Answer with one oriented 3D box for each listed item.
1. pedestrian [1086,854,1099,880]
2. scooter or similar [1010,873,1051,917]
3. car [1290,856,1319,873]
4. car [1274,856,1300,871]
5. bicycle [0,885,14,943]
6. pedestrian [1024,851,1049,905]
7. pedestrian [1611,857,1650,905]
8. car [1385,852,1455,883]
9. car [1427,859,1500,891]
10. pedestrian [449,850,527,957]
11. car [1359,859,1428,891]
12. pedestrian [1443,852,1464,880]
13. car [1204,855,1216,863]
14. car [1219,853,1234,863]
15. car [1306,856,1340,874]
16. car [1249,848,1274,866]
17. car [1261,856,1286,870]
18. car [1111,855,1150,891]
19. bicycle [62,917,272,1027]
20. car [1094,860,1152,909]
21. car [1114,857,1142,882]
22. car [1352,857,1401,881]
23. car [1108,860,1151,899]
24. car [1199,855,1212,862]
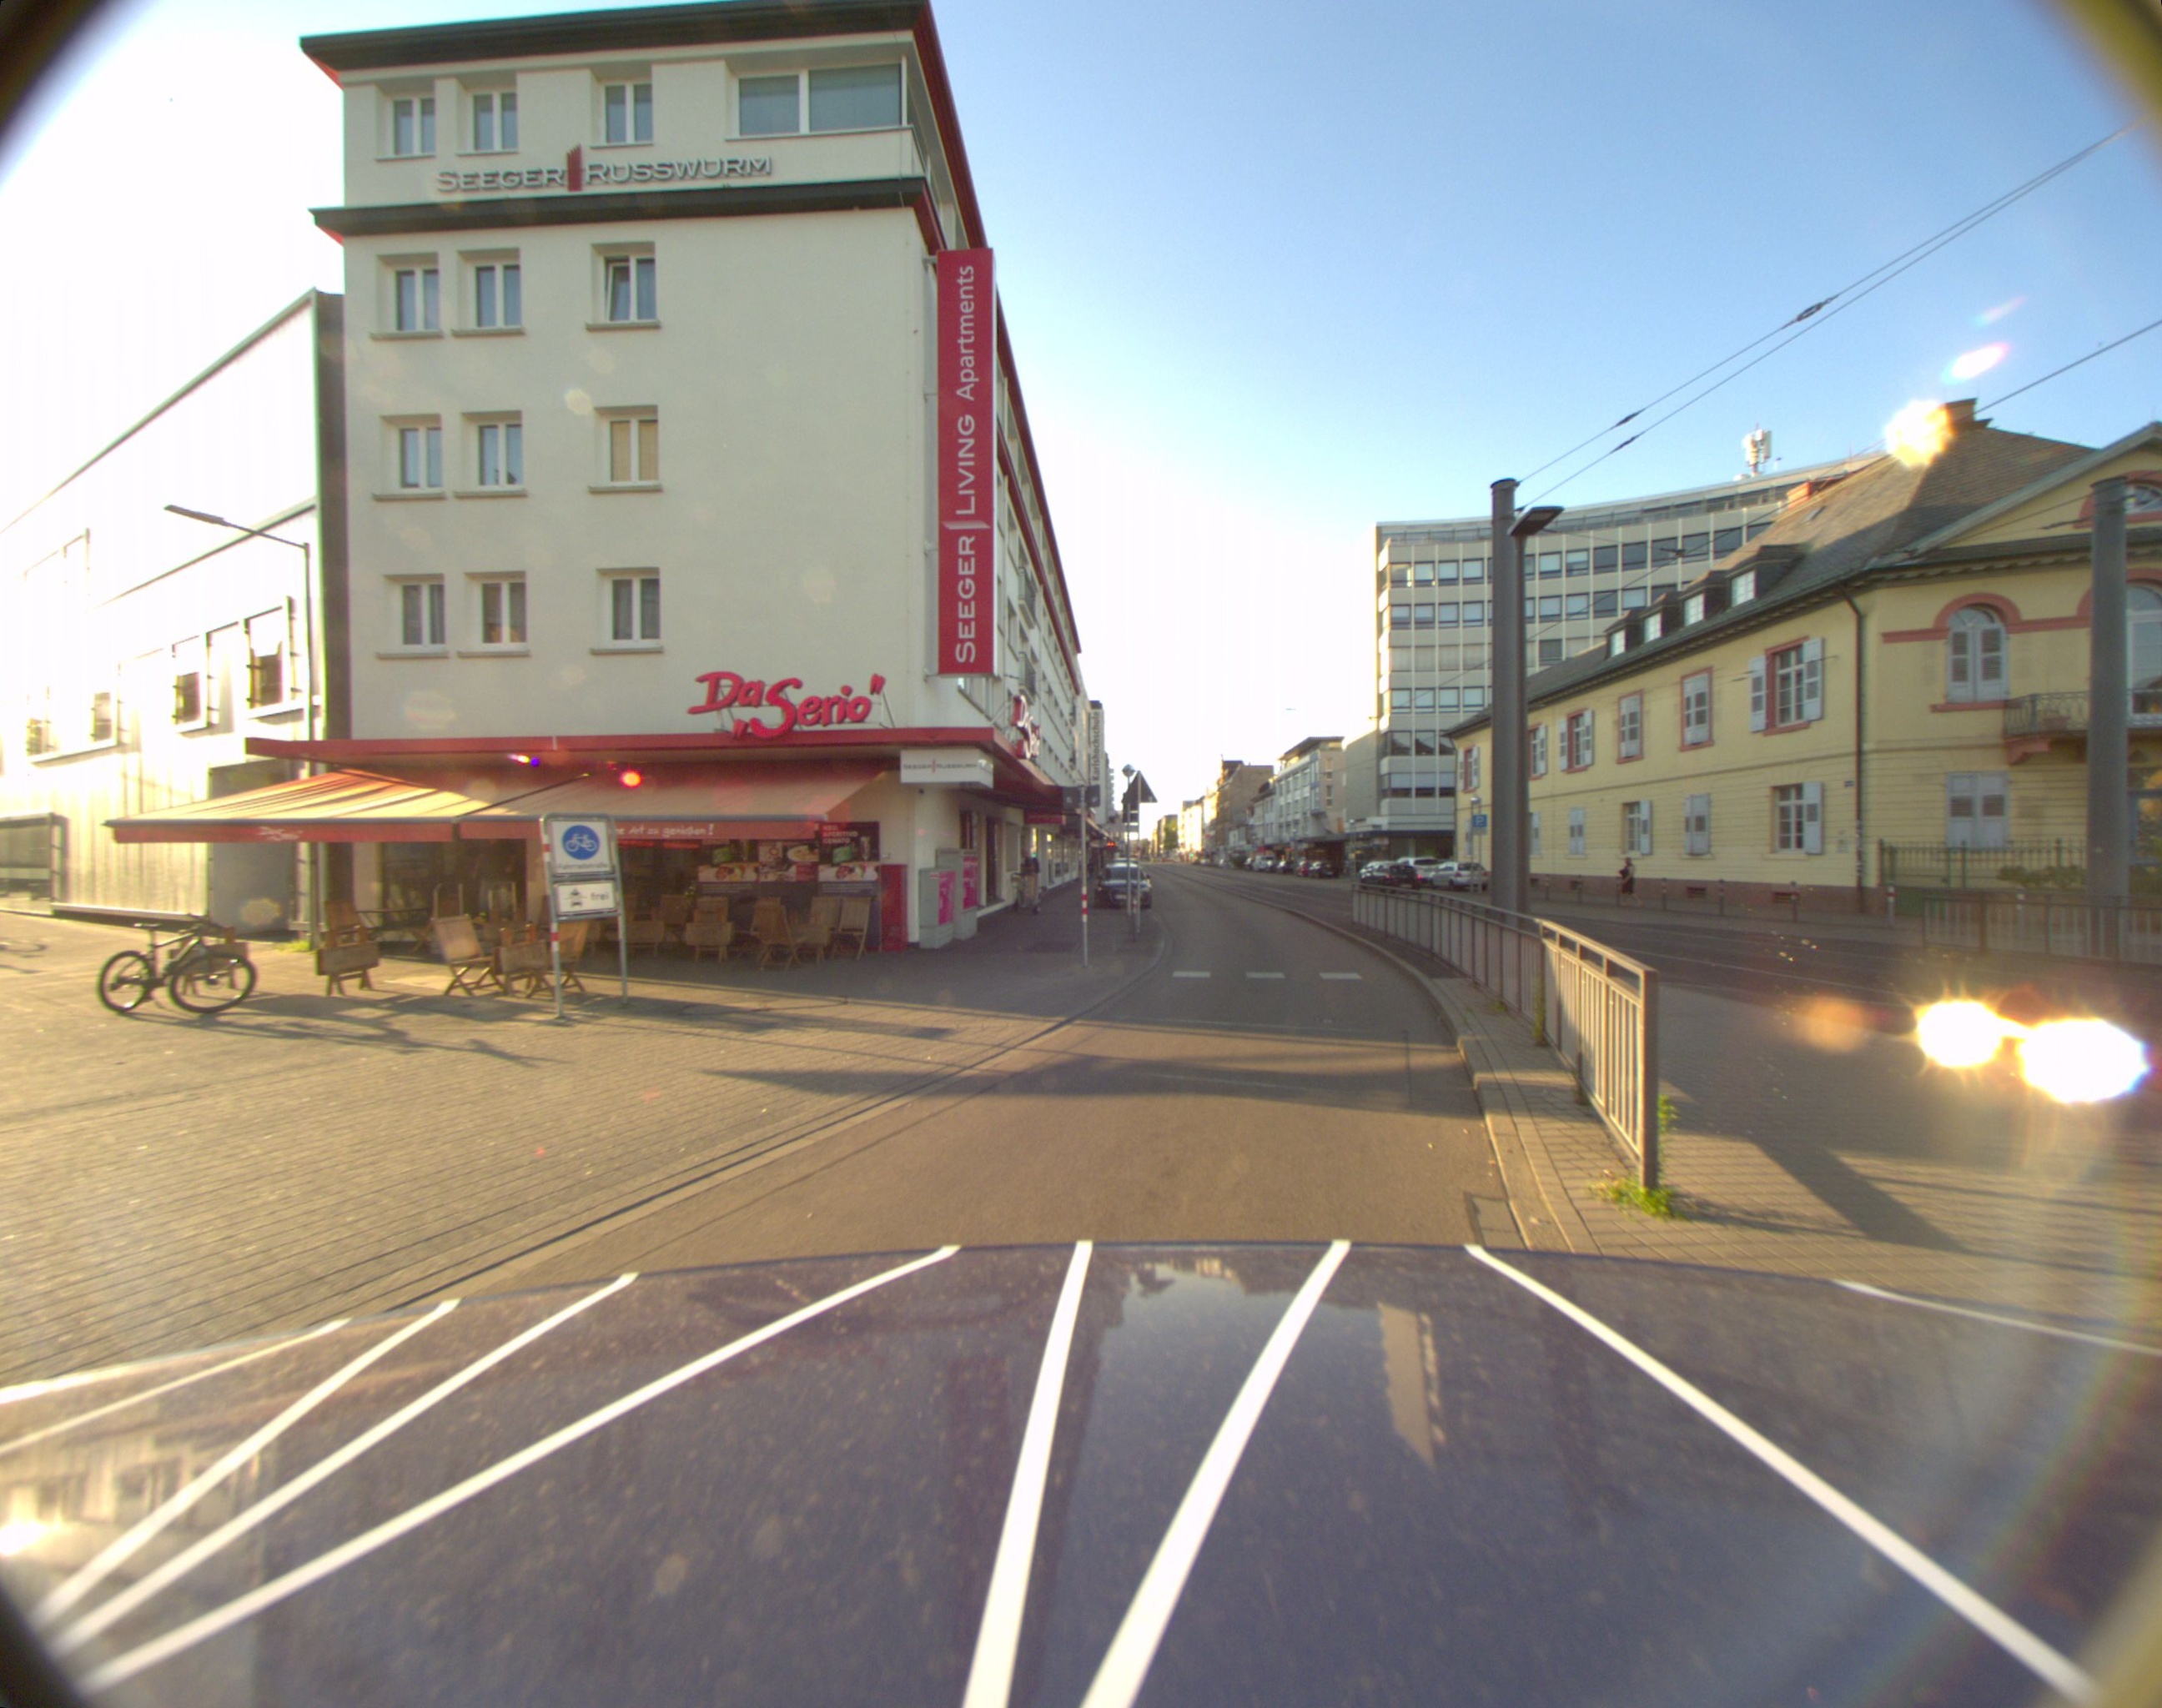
[{"bbox_3d":[0.700,0.779,46.403,0.735,1.564,0.967,0,0,3],"label":"pedestrian"},{"bbox_3d":[-1.458,1.153,21.845,0.336,1.187,1.434,0,0,-43],"label":"scooter or similar"},{"bbox_3d":[20.166,0.923,68.638,1.695,1.426,3.593,-1,0,3],"label":"car"},{"bbox_3d":[21.173,0.975,78.194,1.794,1.452,4.092,0,0,4],"label":"car"},{"bbox_3d":[-23.866,1.335,15.468,0.604,1.225,2.347,0,2,21],"label":"bicycle"},{"bbox_3d":[-1.550,0.818,26.501,0.776,1.869,0.934,0,1,2],"label":"pedestrian"},{"bbox_3d":[17.765,0.862,24.590,0.721,1.527,0.719,0,1,-1],"label":"pedestrian"},{"bbox_3d":[19.215,0.731,43.282,1.891,1.651,4.761,-2,0,1],"label":"car"},{"bbox_3d":[18.990,0.993,37.894,1.752,1.465,4.001,-2,0,3],"label":"car"},{"bbox_3d":[-10.504,0.845,13.484,0.716,1.815,0.761,-2,2,-9],"label":"pedestrian"},{"bbox_3d":[14.976,0.979,36.592,1.771,1.368,4.223,0,0,3],"label":"car"},{"bbox_3d":[21.267,0.694,43.364,0.801,1.533,0.878,-2,1,5],"label":"pedestrian"},{"bbox_3d":[24.950,0.996,147.164,1.845,1.484,3.817,-2,0,4],"label":"car"},{"bbox_3d":[24.218,0.726,126.600,1.895,1.547,4.623,-2,0,4],"label":"car"},{"bbox_3d":[20.178,0.895,63.489,1.696,1.417,3.966,-2,0,3],"label":"car"},{"bbox_3d":[21.854,0.329,92.235,1.969,2.002,5.100,-2,0,2],"label":"car"},{"bbox_3d":[21.426,1.006,84.734,1.876,1.418,4.572,-2,0,3],"label":"car"},{"bbox_3d":[2.528,0.929,39.162,1.860,1.691,4.418,-2,0,3],"label":"car"},{"bbox_3d":[-10.415,1.327,8.676,1.908,1.152,0.536,-1,1,6],"label":"bicycle"},{"bbox_3d":[1.443,0.994,26.272,1.794,1.404,4.688,-2,0,3],"label":"car"},{"bbox_3d":[3.204,1.031,52.851,1.796,1.524,4.857,-2,0,2],"label":"car"},{"bbox_3d":[19.359,0.970,50.026,1.725,1.444,4.284,-2,0,3],"label":"car"},{"bbox_3d":[2.052,1.035,32.197,1.655,1.412,4.192,-2,0,3],"label":"car"},{"bbox_3d":[26.097,0.992,159.686,1.998,1.412,4.404,-2,0,1],"label":"car"}]
